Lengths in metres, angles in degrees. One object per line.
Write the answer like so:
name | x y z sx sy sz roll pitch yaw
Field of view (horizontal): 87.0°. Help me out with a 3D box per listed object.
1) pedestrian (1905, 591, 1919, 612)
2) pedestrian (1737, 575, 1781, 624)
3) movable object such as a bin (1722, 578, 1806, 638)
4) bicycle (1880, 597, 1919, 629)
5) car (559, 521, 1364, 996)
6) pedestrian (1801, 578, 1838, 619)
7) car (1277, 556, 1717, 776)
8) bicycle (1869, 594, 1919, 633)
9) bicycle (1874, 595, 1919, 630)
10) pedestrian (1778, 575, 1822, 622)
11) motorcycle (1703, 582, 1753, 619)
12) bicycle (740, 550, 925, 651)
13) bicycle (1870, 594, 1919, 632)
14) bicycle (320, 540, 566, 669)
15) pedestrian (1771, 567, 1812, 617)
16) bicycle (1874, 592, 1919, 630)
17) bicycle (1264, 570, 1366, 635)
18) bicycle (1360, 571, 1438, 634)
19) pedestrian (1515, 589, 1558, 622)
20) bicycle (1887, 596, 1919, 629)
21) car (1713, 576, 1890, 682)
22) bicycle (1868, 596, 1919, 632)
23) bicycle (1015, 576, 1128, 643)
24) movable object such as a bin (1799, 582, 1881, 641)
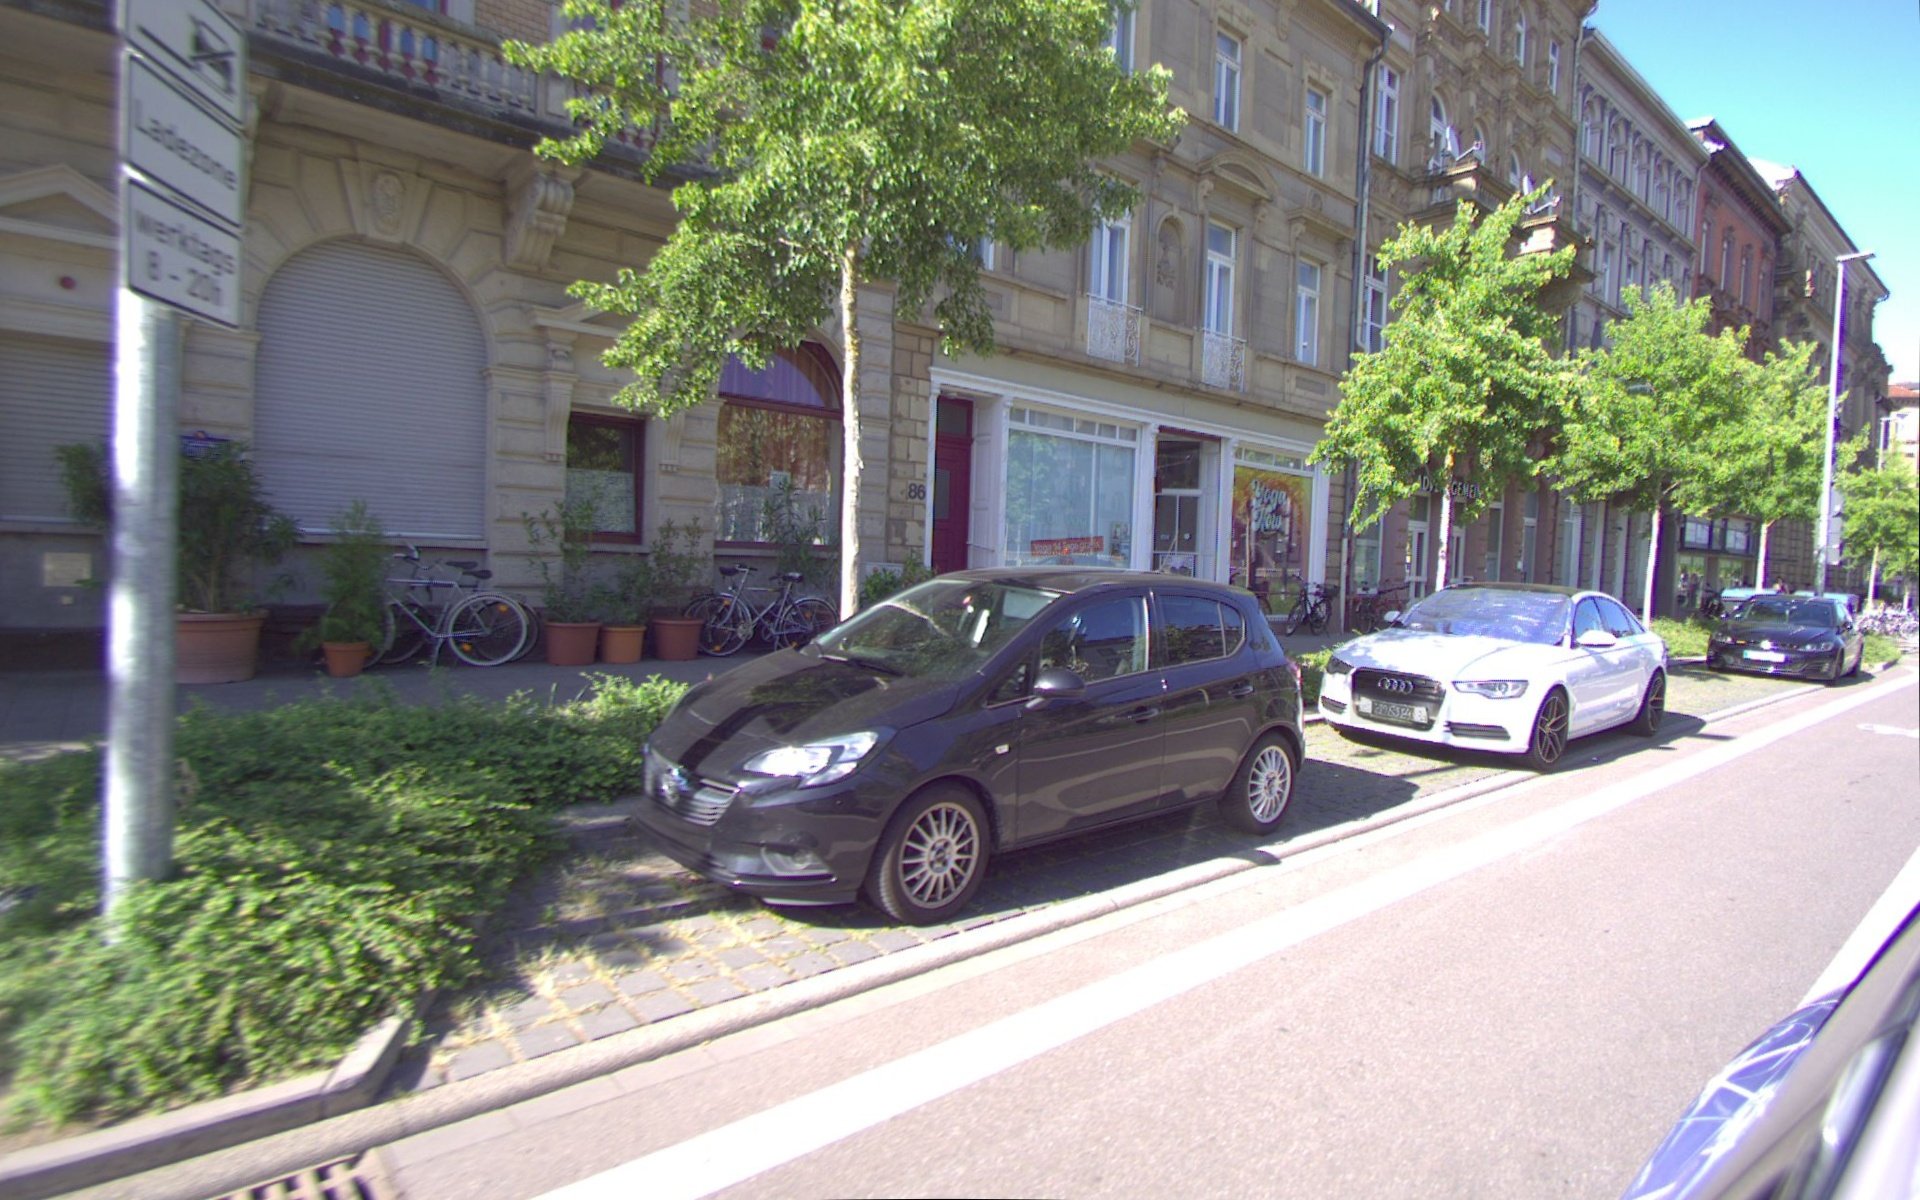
pedestrian | 56.902 0.071 60.283 0.866 1.197 0.719 -1 3 -41
pedestrian | 28.803 -0.018 36.490 0.975 1.659 0.974 1 3 -40
movable object such as a bin | 22.447 0.196 28.255 1.718 1.513 1.378 -1 6 -39
bicycle | 33.795 0.485 35.747 1.816 1.068 0.562 6 5 45
car | 0.243 0.471 5.552 4.147 1.588 1.889 -1 6 -41
pedestrian | 38.415 -0.082 45.219 1.094 1.712 0.972 0 4 -39
car | 5.356 0.438 9.751 5.015 1.513 1.957 0 5 -40
bicycle | 31.441 0.471 33.439 0.474 1.137 1.977 1 6 -45
bicycle | 33.514 0.454 35.558 0.428 1.121 1.981 -1 5 -42
pedestrian | 30.108 -0.056 36.268 1.061 1.585 0.952 2 3 -41
motorcycle | 28.328 -0.005 37.302 2.930 1.282 0.867 -1 2 -41
bicycle | -1.511 -0.012 12.268 2.159 1.103 0.723 0 4 -40
bicycle | 31.740 0.463 33.705 2.046 1.119 0.601 8 6 44
bicycle | -4.863 0.028 9.625 2.020 1.103 0.482 0 4 -40
pedestrian | 33.415 -0.316 40.680 1.077 1.942 0.893 0 4 -35
bicycle | 32.579 0.434 34.362 2.143 1.168 0.424 8 5 37
bicycle | 6.814 0.033 19.362 2.145 1.117 0.877 0 6 -43
bicycle | 9.207 0.034 21.194 1.769 1.215 0.750 -1 4 -41
pedestrian | 15.051 0.133 26.428 0.867 0.828 0.968 2 2 36
bicycle | 34.917 0.483 36.661 0.509 1.121 1.894 -1 5 -45
car | 14.882 0.404 17.818 4.374 1.494 1.769 -1 6 -43
bicycle | 32.742 0.503 34.695 2.279 1.115 0.480 6 4 36
bicycle | 1.718 0.137 15.371 1.977 0.956 0.448 0 2 -41
movable object such as a bin | 23.593 0.307 27.135 1.612 1.482 1.275 3 0 -36
